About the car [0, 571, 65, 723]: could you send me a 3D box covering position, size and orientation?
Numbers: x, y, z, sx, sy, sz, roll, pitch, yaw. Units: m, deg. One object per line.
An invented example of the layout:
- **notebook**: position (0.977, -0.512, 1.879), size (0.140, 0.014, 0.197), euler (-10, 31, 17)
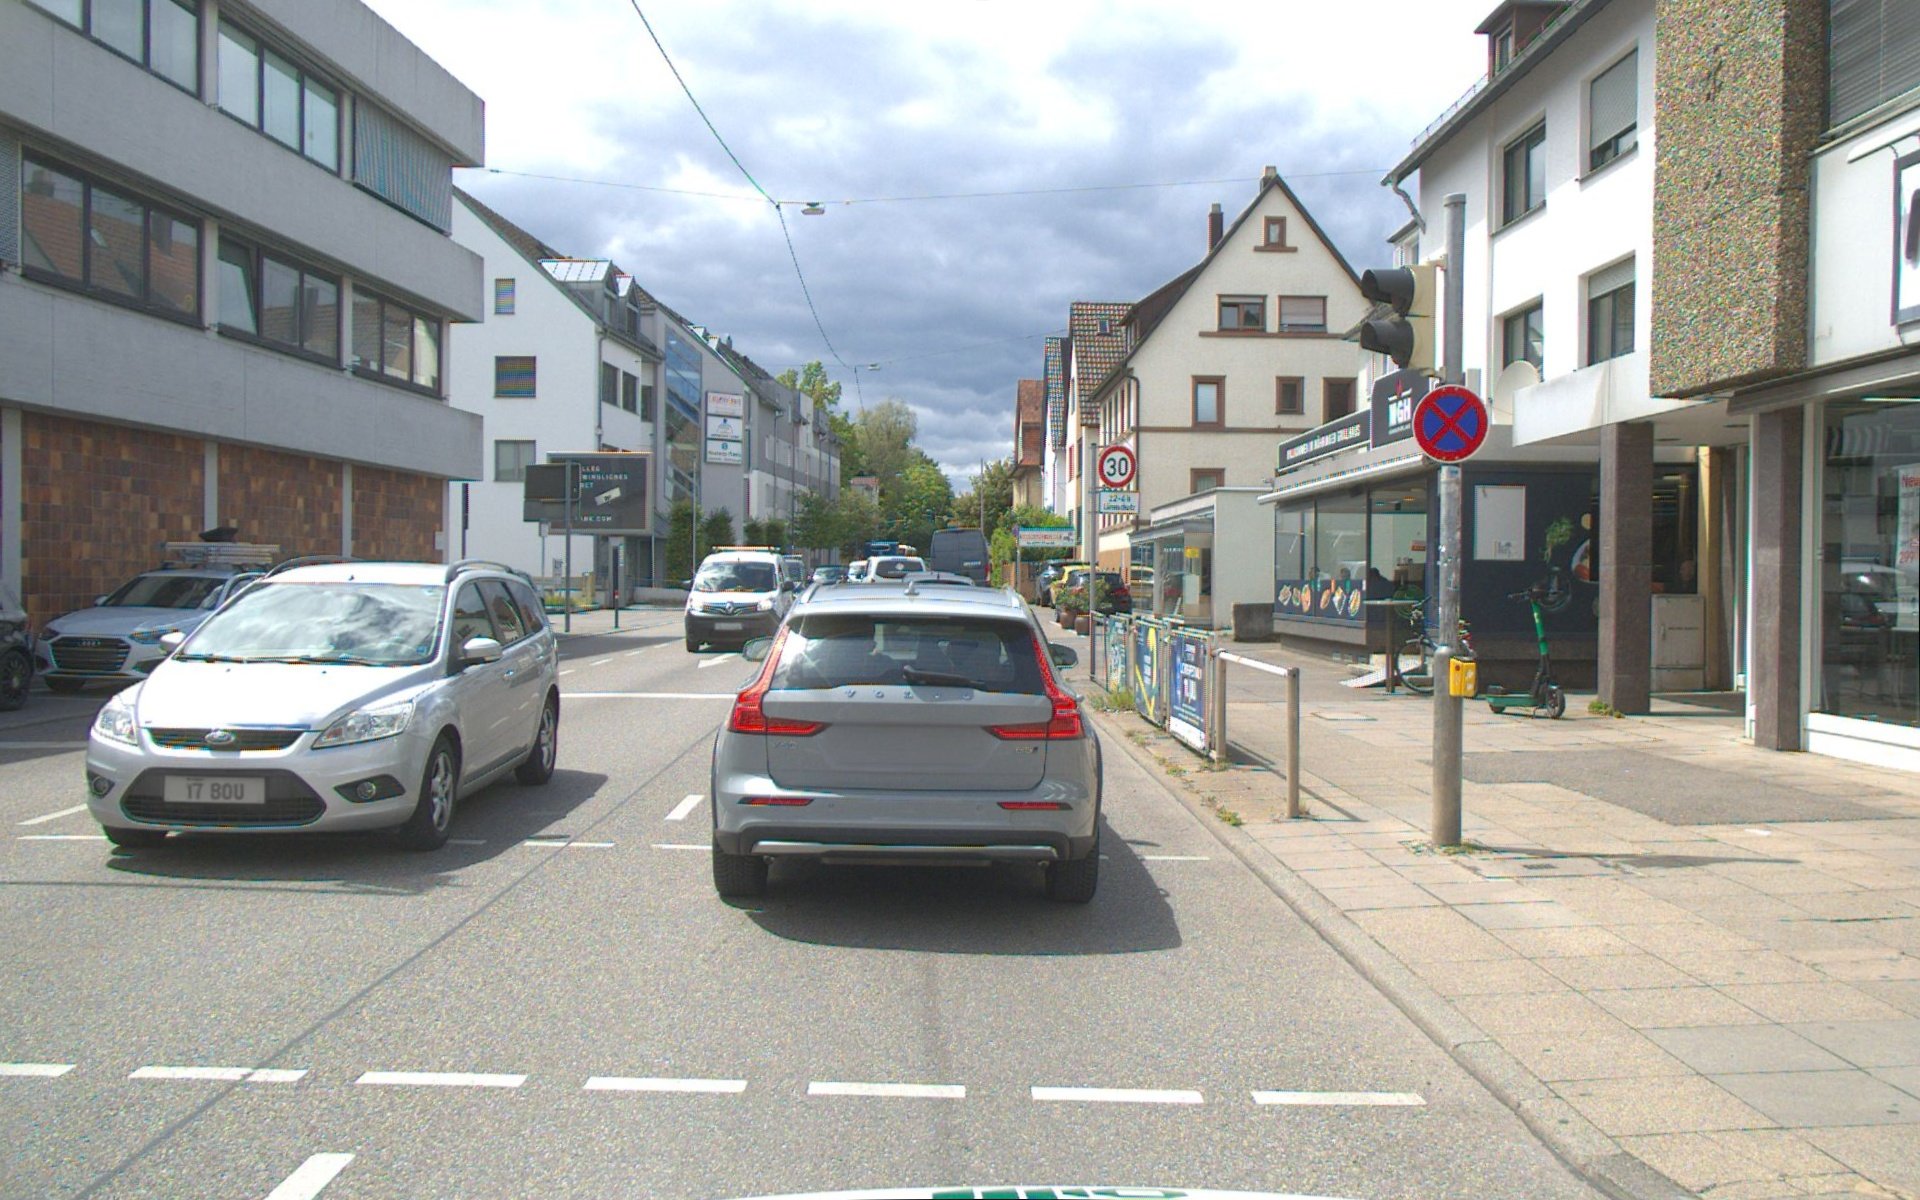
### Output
- **car**: position (-10.394, 0.458, 15.389), size (1.748, 1.490, 4.088), euler (2, 1, 2)

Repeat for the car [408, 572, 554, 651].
- **car**: position (-9.508, 0.184, 33.127), size (1.719, 1.451, 3.863), euler (-1, 1, 1)

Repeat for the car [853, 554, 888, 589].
- **car**: position (-5.003, -1.594, 92.861), size (1.761, 1.847, 3.999), euler (1, -1, -1)

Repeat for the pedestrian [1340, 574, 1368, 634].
- **pedestrian**: position (7.096, 0.063, 29.771), size (0.406, 1.070, 0.367), euler (0, 1, -3)

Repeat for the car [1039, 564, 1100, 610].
- **car**: position (3.842, -0.437, 58.423), size (1.844, 1.526, 3.971), euler (1, 0, 0)

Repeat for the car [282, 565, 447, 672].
- **car**: position (-9.573, 0.253, 26.791), size (1.575, 1.570, 2.944), euler (2, 1, -1)

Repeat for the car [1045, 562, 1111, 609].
- **car**: position (3.821, -0.458, 54.040), size (1.844, 1.440, 3.971), euler (1, 0, 0)

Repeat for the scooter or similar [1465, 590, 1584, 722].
- **scooter or similar**: position (5.725, 0.554, 16.823), size (0.336, 1.275, 1.235), euler (-2, 0, -27)

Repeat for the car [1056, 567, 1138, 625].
- **car**: position (3.670, -0.094, 44.828), size (1.676, 1.490, 3.997), euler (1, 0, -3)

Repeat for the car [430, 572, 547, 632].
- **car**: position (-11.801, 0.015, 41.622), size (1.867, 1.422, 3.842), euler (0, 1, 0)

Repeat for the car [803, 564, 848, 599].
- **car**: position (-5.879, -0.838, 72.622), size (1.726, 1.451, 3.999), euler (-1, 1, -1)

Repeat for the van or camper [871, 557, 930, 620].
- **van or camper**: position (-1.881, -0.323, 52.306), size (1.782, 1.867, 3.998), euler (0, -1, -2)

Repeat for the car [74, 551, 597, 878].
- **car**: position (-3.497, 0.516, 10.146), size (1.634, 1.581, 4.215), euler (0, 1, 0)

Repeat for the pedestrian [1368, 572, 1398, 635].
- **pedestrian**: position (7.253, 0.062, 28.357), size (0.406, 1.070, 0.367), euler (0, 1, -3)

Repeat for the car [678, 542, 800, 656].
- **car**: position (-4.067, -0.036, 31.017), size (1.801, 1.951, 4.154), euler (1, 1, -2)

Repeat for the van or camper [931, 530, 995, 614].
- **van or camper**: position (0.066, -0.980, 56.449), size (2.080, 2.733, 4.781), euler (0, 1, -1)

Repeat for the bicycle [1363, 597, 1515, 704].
- **bicycle**: position (5.701, 0.567, 19.827), size (0.546, 1.164, 2.288), euler (-1, 1, -19)

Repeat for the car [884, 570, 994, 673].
- **car**: position (-0.364, 0.301, 26.570), size (1.617, 1.508, 3.606), euler (1, 1, -2)

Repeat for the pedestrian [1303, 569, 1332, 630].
- **pedestrian**: position (6.297, -0.017, 29.127), size (0.406, 1.070, 0.367), euler (0, 1, -3)

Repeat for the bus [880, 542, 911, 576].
- **bus**: position (-5.275, -3.391, 135.756), size (2.229, 2.714, 7.429), euler (-1, 1, 0)

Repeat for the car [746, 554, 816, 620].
- **car**: position (-5.559, -0.423, 51.877), size (1.801, 1.951, 4.530), euler (-1, 1, -2)

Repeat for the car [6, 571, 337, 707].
- **car**: position (-9.739, 0.401, 20.888), size (1.864, 1.468, 4.445), euler (2, 1, 3)

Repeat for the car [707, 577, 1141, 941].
- **car**: position (-0.208, 0.637, 8.894), size (1.799, 1.512, 3.999), euler (0, 1, -2)

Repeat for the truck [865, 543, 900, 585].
- **truck**: position (-5.532, -2.579, 119.254), size (2.229, 2.936, 7.079), euler (0, 1, 0)
